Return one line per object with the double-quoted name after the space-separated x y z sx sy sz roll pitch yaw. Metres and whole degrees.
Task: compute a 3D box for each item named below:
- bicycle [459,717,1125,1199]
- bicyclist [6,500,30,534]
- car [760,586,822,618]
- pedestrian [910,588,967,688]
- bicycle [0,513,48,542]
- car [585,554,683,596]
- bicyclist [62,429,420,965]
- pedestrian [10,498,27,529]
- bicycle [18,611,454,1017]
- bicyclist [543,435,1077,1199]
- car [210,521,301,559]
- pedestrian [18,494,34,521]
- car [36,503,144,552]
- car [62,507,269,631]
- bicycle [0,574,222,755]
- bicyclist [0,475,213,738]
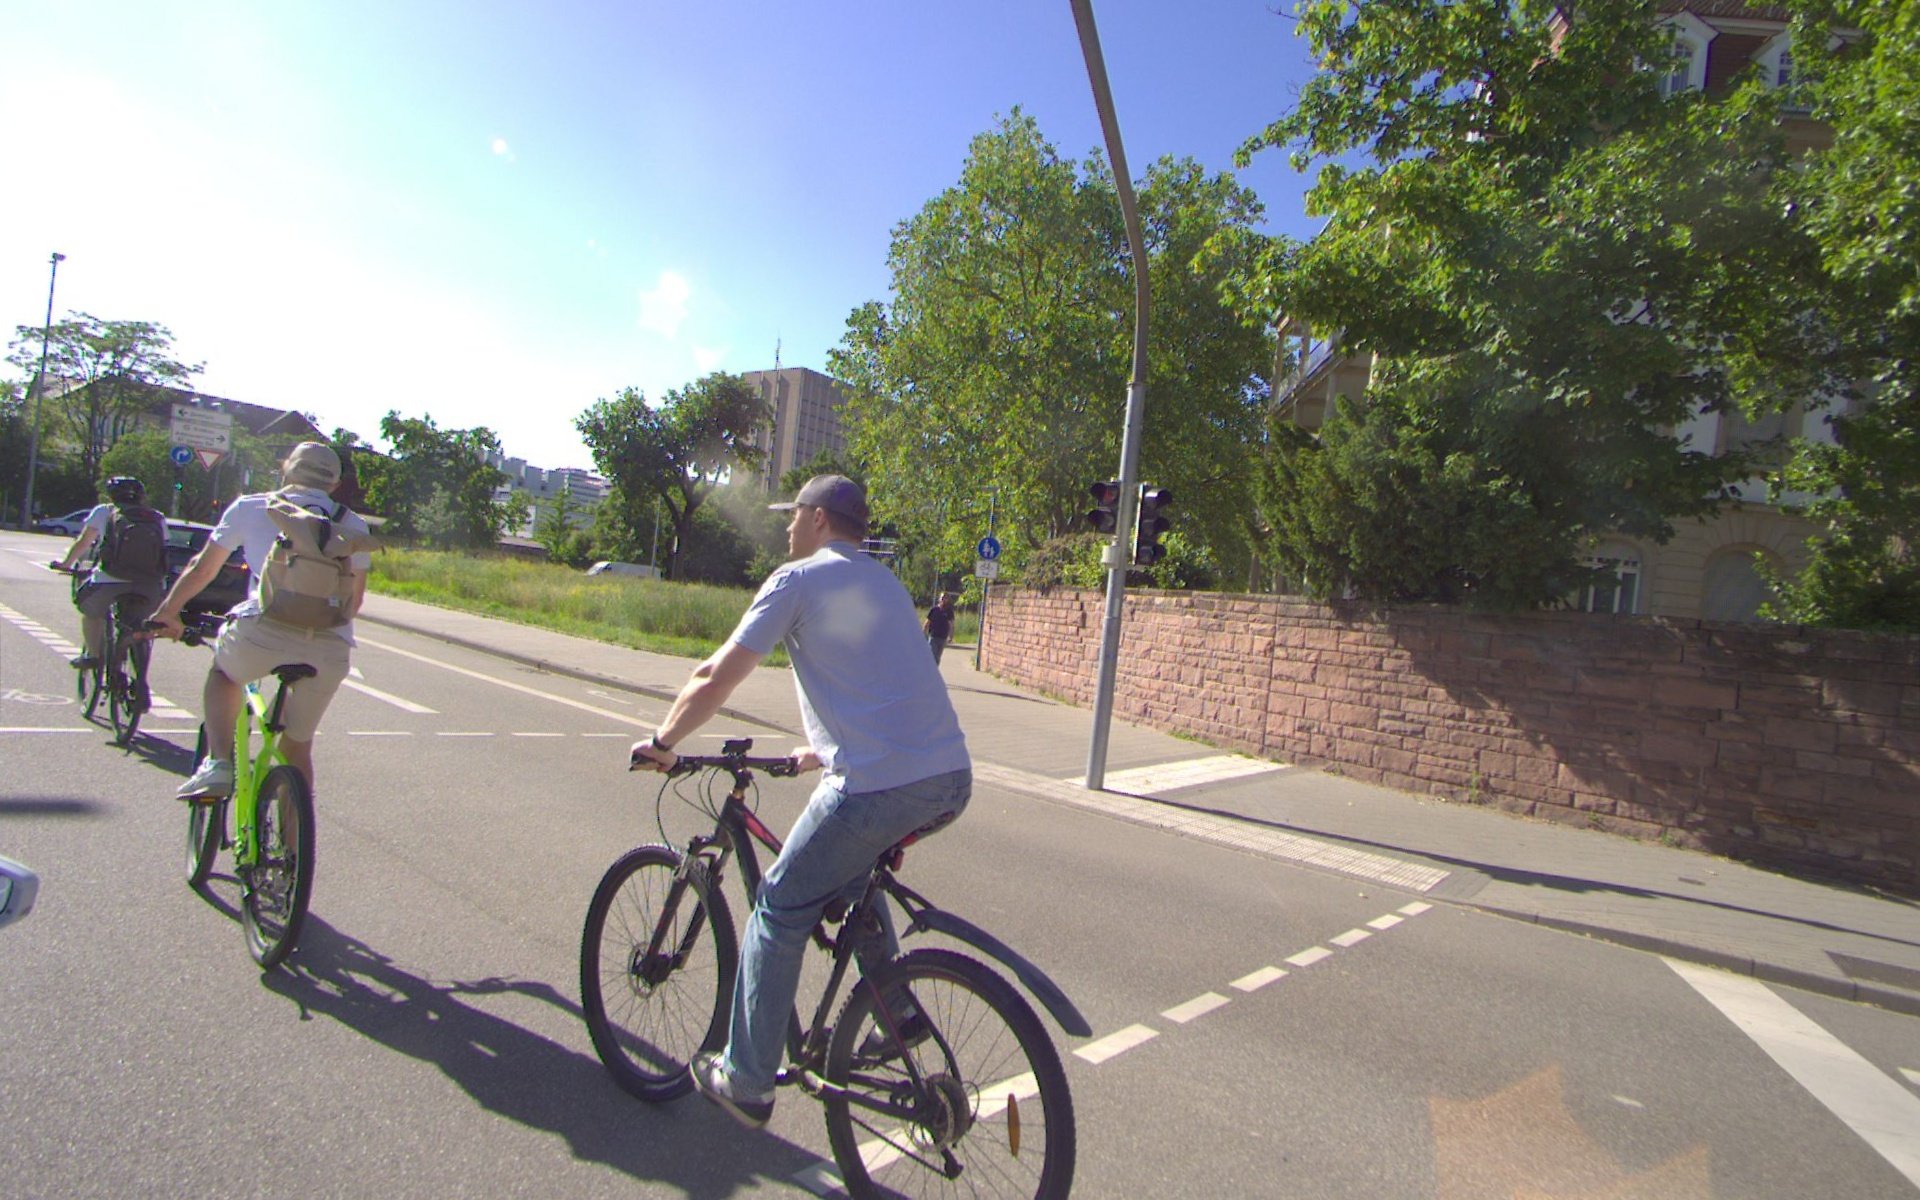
-0.558 0.985 2.650 1.804 1.090 0.610 6 -1 40 "bicycle"
-55.836 -4.939 59.642 0.853 1.868 0.842 7 -2 -41 "bicyclist"
-15.271 0.210 91.170 2.047 2.252 5.077 7 -1 45 "car"
-0.439 0.727 19.896 0.748 1.855 1.046 5 1 -15 "pedestrian"
-55.839 -4.321 59.686 2.442 1.386 0.841 8 -2 -42 "bicycle"
-25.705 -1.922 79.561 2.046 2.453 7.139 7 -1 43 "car"
-2.774 0.305 3.882 0.989 1.769 0.664 8 2 32 "bicyclist"
-54.083 -4.978 57.791 0.553 1.689 0.472 6 -1 -35 "pedestrian"
-2.875 0.699 3.926 1.859 1.060 0.663 8 1 32 "bicycle"
-0.406 0.556 2.665 0.999 1.797 0.749 6 -1 40 "bicyclist"
-40.702 -3.441 58.153 4.096 1.604 1.860 8 -3 -39 "car"
-62.123 -6.116 66.911 0.574 1.689 0.556 6 -1 -40 "pedestrian"
-48.379 -4.013 56.051 4.331 2.037 1.978 8 -3 -41 "car"
-12.398 -0.514 15.634 3.608 1.559 1.755 5 -2 41 "car"
-5.965 0.407 6.936 1.853 0.971 0.723 6 -1 32 "bicycle"
-5.896 0.043 6.927 1.037 1.645 0.723 6 -1 32 "bicyclist"
